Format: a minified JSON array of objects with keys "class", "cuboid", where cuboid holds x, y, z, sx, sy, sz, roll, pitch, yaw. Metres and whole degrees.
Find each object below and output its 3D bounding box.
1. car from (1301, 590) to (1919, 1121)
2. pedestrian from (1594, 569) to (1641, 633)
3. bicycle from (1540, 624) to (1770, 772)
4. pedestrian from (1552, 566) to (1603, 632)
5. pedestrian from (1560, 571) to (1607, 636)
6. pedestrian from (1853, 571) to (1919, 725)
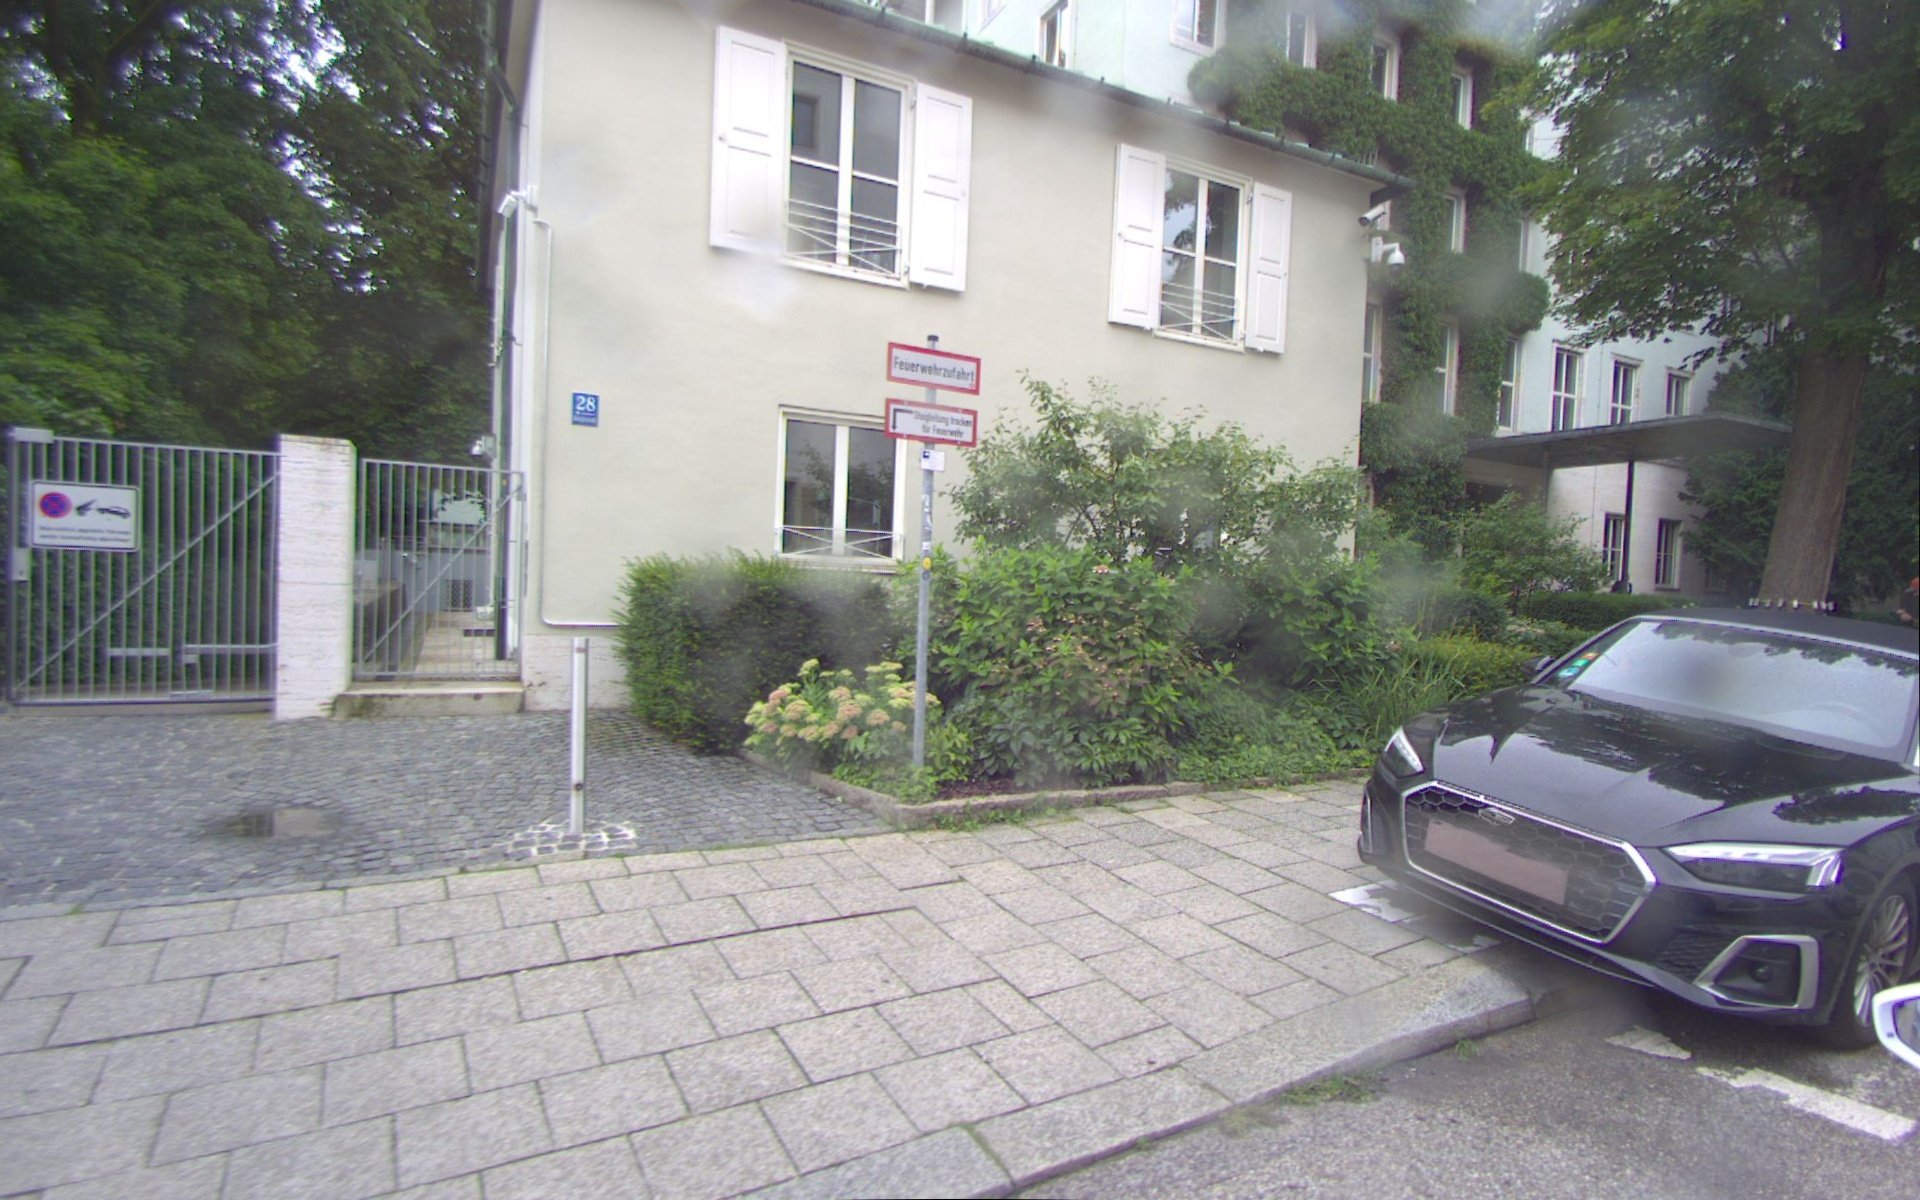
[{"class":"car","cuboid":[4.038,0.781,4.939,4.871,1.421,1.796,2,3,-33]},{"class":"pedestrian","cuboid":[18.981,0.037,29.004,0.891,1.776,0.746,3,1,-32]},{"class":"bicycle","cuboid":[6.057,0.820,8.736,2.019,1.145,0.648,2,1,-24]},{"class":"pedestrian","cuboid":[17.135,-0.027,27.887,0.744,1.776,0.893,1,2,-31]},{"class":"pedestrian","cuboid":[17.713,0.089,28.535,0.891,1.776,0.746,3,1,-32]},{"class":"pedestrian","cuboid":[12.139,0.604,12.867,0.787,1.877,0.709,2,3,-29]}]
